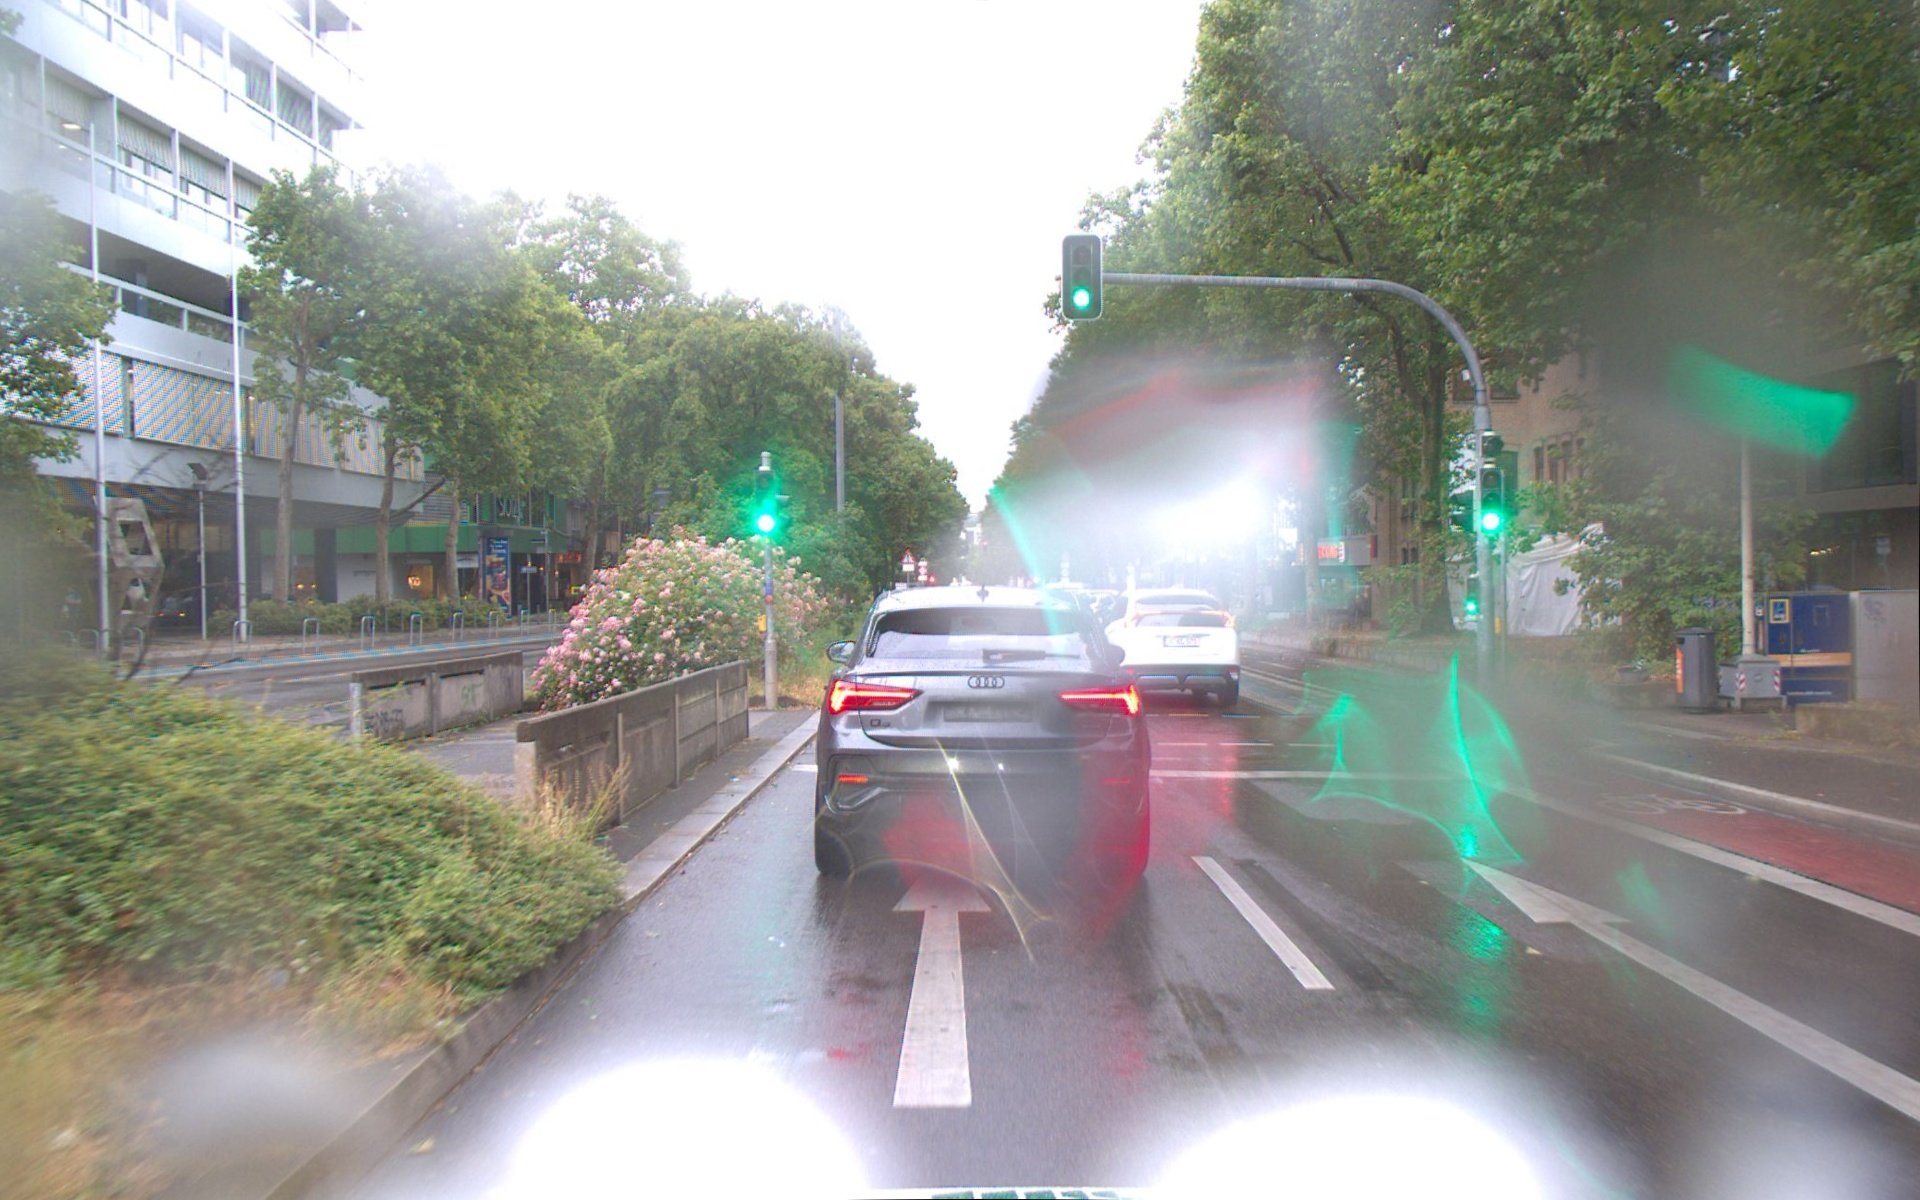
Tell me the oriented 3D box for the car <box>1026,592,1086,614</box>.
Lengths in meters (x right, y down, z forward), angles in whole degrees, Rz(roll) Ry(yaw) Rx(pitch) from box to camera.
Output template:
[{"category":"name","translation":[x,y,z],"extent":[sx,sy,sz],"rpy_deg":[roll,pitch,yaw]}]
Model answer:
[{"category":"car","translation":[7.971,0.265,137.710],"extent":[4.549,1.736,1.997],"rpy_deg":[1,-1,28]}]

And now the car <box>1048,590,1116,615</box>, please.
[{"category":"car","translation":[8.900,0.161,120.571],"extent":[4.549,1.736,1.997],"rpy_deg":[1,-1,28]}]

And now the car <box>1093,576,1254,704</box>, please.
[{"category":"car","translation":[3.091,0.570,24.700],"extent":[1.840,1.727,3.999],"rpy_deg":[1,-1,0]}]

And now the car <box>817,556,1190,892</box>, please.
[{"category":"car","translation":[0.174,0.625,10.050],"extent":[1.812,1.630,3.999],"rpy_deg":[0,-1,-1]}]

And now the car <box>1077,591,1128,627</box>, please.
[{"category":"car","translation":[6.556,0.403,76.564],"extent":[1.693,1.599,4.069],"rpy_deg":[1,-1,-5]}]

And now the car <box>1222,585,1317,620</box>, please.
[{"category":"car","translation":[10.408,0.084,55.647],"extent":[2.831,1.093,1.452],"rpy_deg":[1,-1,31]}]

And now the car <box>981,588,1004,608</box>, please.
[{"category":"car","translation":[2.941,-0.165,148.179],"extent":[1.953,1.680,4.000],"rpy_deg":[1,-1,0]}]

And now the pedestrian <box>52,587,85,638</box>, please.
[{"category":"pedestrian","translation":[-24.536,0.346,45.542],"extent":[0.625,1.404,0.474],"rpy_deg":[1,-1,-3]}]

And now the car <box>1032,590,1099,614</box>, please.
[{"category":"car","translation":[7.925,0.157,124.191],"extent":[4.549,1.736,1.997],"rpy_deg":[1,-1,28]}]

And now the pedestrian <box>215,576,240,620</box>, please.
[{"category":"pedestrian","translation":[-25.118,-0.062,56.736],"extent":[0.597,1.508,0.574],"rpy_deg":[1,-1,-3]}]

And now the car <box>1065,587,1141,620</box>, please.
[{"category":"car","translation":[9.194,0.226,106.246],"extent":[4.518,2.049,1.959],"rpy_deg":[1,-1,38]}]

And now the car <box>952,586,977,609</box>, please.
[{"category":"car","translation":[0.354,-0.157,132.116],"extent":[1.953,1.757,3.999],"rpy_deg":[1,-1,-1]}]

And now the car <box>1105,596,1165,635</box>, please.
[{"category":"car","translation":[6.905,0.597,65.605],"extent":[1.835,1.446,4.610],"rpy_deg":[1,0,0]}]
